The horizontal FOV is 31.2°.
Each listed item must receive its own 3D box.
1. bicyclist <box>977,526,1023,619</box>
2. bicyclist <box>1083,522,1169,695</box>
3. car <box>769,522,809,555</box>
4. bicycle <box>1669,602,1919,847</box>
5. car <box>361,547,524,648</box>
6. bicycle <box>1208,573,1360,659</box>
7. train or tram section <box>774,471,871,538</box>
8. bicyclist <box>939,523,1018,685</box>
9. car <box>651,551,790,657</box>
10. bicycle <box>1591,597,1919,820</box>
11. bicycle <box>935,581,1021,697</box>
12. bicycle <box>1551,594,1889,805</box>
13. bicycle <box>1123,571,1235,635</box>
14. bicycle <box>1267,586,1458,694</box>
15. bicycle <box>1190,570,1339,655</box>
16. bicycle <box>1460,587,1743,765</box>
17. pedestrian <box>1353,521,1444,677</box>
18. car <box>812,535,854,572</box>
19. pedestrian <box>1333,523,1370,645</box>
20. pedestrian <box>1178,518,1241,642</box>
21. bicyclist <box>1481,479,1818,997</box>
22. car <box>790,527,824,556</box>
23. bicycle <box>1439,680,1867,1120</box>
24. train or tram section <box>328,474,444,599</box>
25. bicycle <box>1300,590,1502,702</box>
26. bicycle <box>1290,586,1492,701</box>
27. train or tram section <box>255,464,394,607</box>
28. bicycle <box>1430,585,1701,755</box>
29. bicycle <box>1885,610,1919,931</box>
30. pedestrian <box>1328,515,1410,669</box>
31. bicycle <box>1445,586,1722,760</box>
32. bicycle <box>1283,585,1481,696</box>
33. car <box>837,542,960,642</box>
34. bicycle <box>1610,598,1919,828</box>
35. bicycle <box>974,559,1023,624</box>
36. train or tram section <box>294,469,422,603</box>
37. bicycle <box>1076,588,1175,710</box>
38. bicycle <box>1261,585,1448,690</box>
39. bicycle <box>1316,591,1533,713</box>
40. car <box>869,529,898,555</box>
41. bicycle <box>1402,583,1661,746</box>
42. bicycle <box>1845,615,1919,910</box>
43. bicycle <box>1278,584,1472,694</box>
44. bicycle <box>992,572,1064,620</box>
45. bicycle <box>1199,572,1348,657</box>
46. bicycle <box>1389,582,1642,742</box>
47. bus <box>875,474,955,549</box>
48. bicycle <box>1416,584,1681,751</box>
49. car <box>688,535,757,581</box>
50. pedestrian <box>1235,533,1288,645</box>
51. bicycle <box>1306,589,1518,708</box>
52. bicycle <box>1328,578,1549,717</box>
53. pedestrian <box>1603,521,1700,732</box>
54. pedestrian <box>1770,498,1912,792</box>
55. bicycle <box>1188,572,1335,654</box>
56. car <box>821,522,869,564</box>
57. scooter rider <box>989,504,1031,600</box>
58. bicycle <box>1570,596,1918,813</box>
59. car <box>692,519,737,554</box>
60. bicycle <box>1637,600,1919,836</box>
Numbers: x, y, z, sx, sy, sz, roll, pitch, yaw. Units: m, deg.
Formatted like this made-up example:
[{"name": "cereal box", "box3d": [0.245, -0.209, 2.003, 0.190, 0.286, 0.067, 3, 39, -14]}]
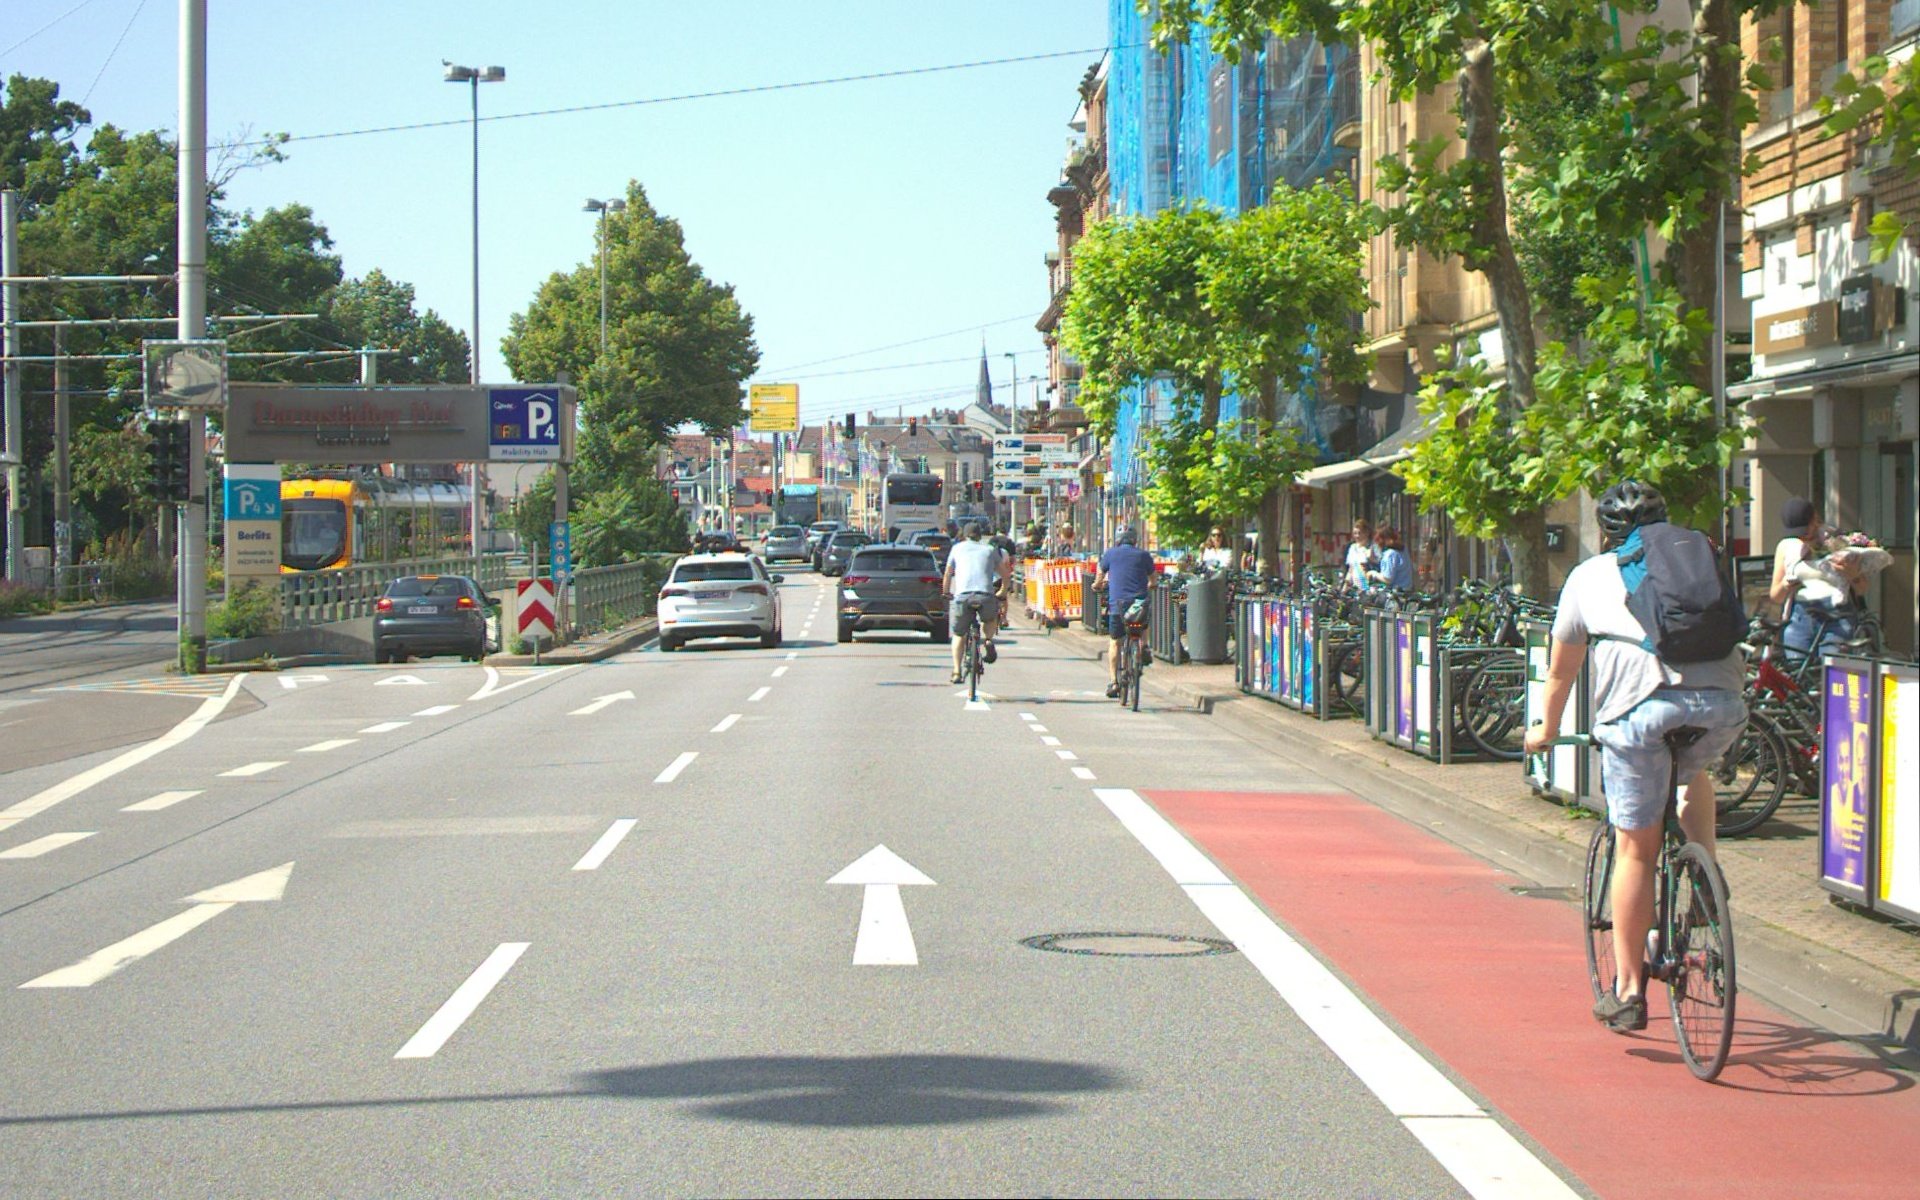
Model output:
[{"name": "bicyclist", "box3d": [0.693, -0.480, 59.440, 0.688, 1.571, 1.049, 2, 1, -3]}, {"name": "bicyclist", "box3d": [1.583, 0.076, 32.830, 0.688, 1.610, 0.918, 2, 1, -3]}, {"name": "car", "box3d": [-7.066, -2.530, 142.349, 1.451, 1.296, 4.000, 2, 1, 0]}, {"name": "bicycle", "box3d": [4.319, 0.587, 16.429, 1.752, 1.143, 0.499, 0, 1, -3]}, {"name": "car", "box3d": [-8.247, -0.068, 55.081, 1.993, 1.503, 4.000, 2, 1, 0]}, {"name": "bicycle", "box3d": [3.874, 0.186, 41.138, 1.752, 1.014, 0.483, 0, 1, -3]}, {"name": "train or tram section", "box3d": [-7.735, -5.372, 194.742, 2.824, 3.569, 10.026, 2, 1, 13]}, {"name": "bicyclist", "box3d": [0.182, 0.031, 34.416, 0.688, 1.571, 1.049, 2, 1, -3]}, {"name": "car", "box3d": [-3.655, 0.033, 52.992, 1.858, 1.502, 4.000, 2, 1, 0]}, {"name": "bicycle", "box3d": [4.232, 0.563, 18.020, 1.752, 1.143, 0.483, 0, 1, -3]}, {"name": "bicycle", "box3d": [0.167, 0.379, 34.533, 0.734, 1.089, 1.898, 2, 1, -3]}, {"name": "bicycle", "box3d": [4.196, 0.543, 19.025, 1.752, 1.143, 0.483, 0, 1, -3]}, {"name": "bicycle", "box3d": [3.513, 0.048, 55.266, 1.752, 1.014, 0.483, 0, 1, -3]}, {"name": "bicycle", "box3d": [3.843, 0.381, 32.865, 1.752, 1.014, 0.483, 0, 1, -3]}, {"name": "bicycle", "box3d": [3.735, 0.146, 42.269, 1.752, 1.014, 0.587, -1, 1, -3]}, {"name": "bicycle", "box3d": [4.191, 0.490, 22.518, 1.752, 1.143, 0.483, 0, 1, -3]}, {"name": "pedestrian", "box3d": [4.629, -0.015, 36.344, 0.695, 1.620, 0.702, -2, 1, -16]}, {"name": "car", "box3d": [-4.591, -1.690, 124.691, 1.451, 1.296, 3.342, 2, 1, -2]}, {"name": "pedestrian", "box3d": [5.418, -0.223, 47.538, 0.381, 1.677, 0.476, -1, 0, 20]}, {"name": "pedestrian", "box3d": [3.392, -0.269, 46.822, 0.656, 1.677, 0.653, 0, 0, -18]}, {"name": "bicyclist", "box3d": [2.046, 0.384, 10.339, 0.688, 1.458, 1.143, 2, 1, -3]}, {"name": "car", "box3d": [-7.103, -2.712, 159.796, 1.451, 1.296, 3.342, 2, 1, -2]}, {"name": "bicycle", "box3d": [2.026, 0.838, 10.375, 0.734, 1.089, 2.131, 2, 1, -3]}, {"name": "train or tram section", "box3d": [-17.124, -1.895, 102.793, 2.613, 3.569, 5.357, 2, 1, -2]}, {"name": "bicycle", "box3d": [3.909, 0.405, 30.495, 1.717, 0.981, 0.483, 0, 1, -3]}, {"name": "bicycle", "box3d": [3.904, 0.392, 31.188, 1.752, 1.014, 0.483, 0, 2, -3]}, {"name": "train or tram section", "box3d": [-16.754, -1.700, 90.971, 2.613, 3.569, 6.104, 2, 1, -2]}, {"name": "bicycle", "box3d": [4.134, 0.473, 23.514, 1.752, 1.143, 0.483, 0, 1, -3]}, {"name": "bicycle", "box3d": [4.423, 0.634, 12.934, 1.752, 1.183, 0.483, 0, 1, -3]}, {"name": "pedestrian", "box3d": [4.409, -0.087, 37.059, 0.599, 1.620, 0.644, -3, 1, -17]}, {"name": "bicycle", "box3d": [4.166, 0.482, 23.014, 1.752, 1.143, 0.483, 0, 1, -3]}, {"name": "bicycle", "box3d": [3.892, 0.369, 31.756, 1.752, 1.014, 0.483, 0, 1, -3]}, {"name": "car", "box3d": [-0.970, -0.156, 55.210, 1.873, 1.487, 4.000, 2, 1, 0]}, {"name": "bicycle", "box3d": [4.241, 0.568, 17.529, 1.752, 1.143, 0.483, 0, 1, -3]}, {"name": "bicycle", "box3d": [0.660, -0.155, 59.489, 0.734, 1.089, 1.898, 2, 1, -2]}, {"name": "train or tram section", "box3d": [-16.935, -1.800, 97.060, 2.613, 3.569, 6.104, 2, 1, -2]}, {"name": "bicycle", "box3d": [1.567, 0.455, 32.878, 0.734, 1.089, 1.911, 2, 1, -3]}, {"name": "bicycle", "box3d": [3.833, 0.363, 33.462, 1.752, 1.014, 0.483, 0, 1, -3]}, {"name": "bicycle", "box3d": [3.920, 0.437, 29.065, 1.752, 1.014, 0.483, 0, 1, -3]}, {"name": "car", "box3d": [-4.041, -3.046, 181.360, 1.451, 1.296, 3.342, 2, 1, -2]}, {"name": "bicycle", "box3d": [4.064, 0.456, 24.488, 1.752, 1.143, 0.483, 0, 1, -3]}, {"name": "bicycle", "box3d": [4.401, 0.625, 13.443, 1.752, 1.119, 0.483, 0, 1, -3]}, {"name": "bicycle", "box3d": [3.888, 0.363, 32.266, 1.752, 1.014, 0.483, 0, 1, -3]}, {"name": "bicycle", "box3d": [1.700, -0.094, 86.495, 1.771, 1.174, 0.608, 1, 1, -1]}, {"name": "bicycle", "box3d": [3.795, 0.176, 41.665, 1.752, 1.014, 0.483, 0, 1, -3]}, {"name": "bicycle", "box3d": [4.030, 0.447, 24.985, 1.752, 1.143, 0.483, 0, 1, -3]}, {"name": "bus", "box3d": [-1.727, -3.469, 136.403, 2.969, 2.767, 8.642, 2, 1, 0]}, {"name": "bicycle", "box3d": [4.102, 0.465, 24.008, 1.752, 1.143, 0.483, 0, 1, -3]}, {"name": "car", "box3d": [-7.253, -1.293, 105.319, 1.815, 1.327, 4.000, 2, 1, 0]}, {"name": "pedestrian", "box3d": [5.055, -0.190, 57.651, 0.814, 1.842, 0.891, -2, 0, 6]}, {"name": "bicycle", "box3d": [3.907, 0.417, 29.760, 1.752, 1.014, 0.483, 0, 1, -3]}, {"name": "bicycle", "box3d": [3.965, 0.389, 28.514, 1.752, 1.143, 0.483, 0, 1, -3]}, {"name": "pedestrian", "box3d": [5.945, 0.217, 29.597, 0.668, 1.775, 0.985, -1, 1, 3]}, {"name": "pedestrian", "box3d": [5.016, 0.247, 19.600, 0.652, 1.628, 0.730, 2, 1, 8]}, {"name": "bicycle", "box3d": [3.750, 0.161, 42.814, 1.752, 1.014, 0.557, 0, 1, -3]}, {"name": "car", "box3d": [-3.784, -1.871, 112.871, 1.451, 1.296, 3.342, 2, 1, -3]}, {"name": "scooter rider", "box3d": [0.908, -0.881, 62.943, 0.688, 1.723, 0.778, 2, 1, -1]}, {"name": "bicycle", "box3d": [4.214, 0.555, 18.522, 1.752, 1.143, 0.483, 0, 1, -3]}, {"name": "car", "box3d": [-9.498, -2.459, 133.045, 1.451, 1.296, 4.000, 2, 1, 0]}, {"name": "bicycle", "box3d": [4.278, 0.577, 17.015, 1.752, 1.143, 0.483, 0, 1, -3]}]
